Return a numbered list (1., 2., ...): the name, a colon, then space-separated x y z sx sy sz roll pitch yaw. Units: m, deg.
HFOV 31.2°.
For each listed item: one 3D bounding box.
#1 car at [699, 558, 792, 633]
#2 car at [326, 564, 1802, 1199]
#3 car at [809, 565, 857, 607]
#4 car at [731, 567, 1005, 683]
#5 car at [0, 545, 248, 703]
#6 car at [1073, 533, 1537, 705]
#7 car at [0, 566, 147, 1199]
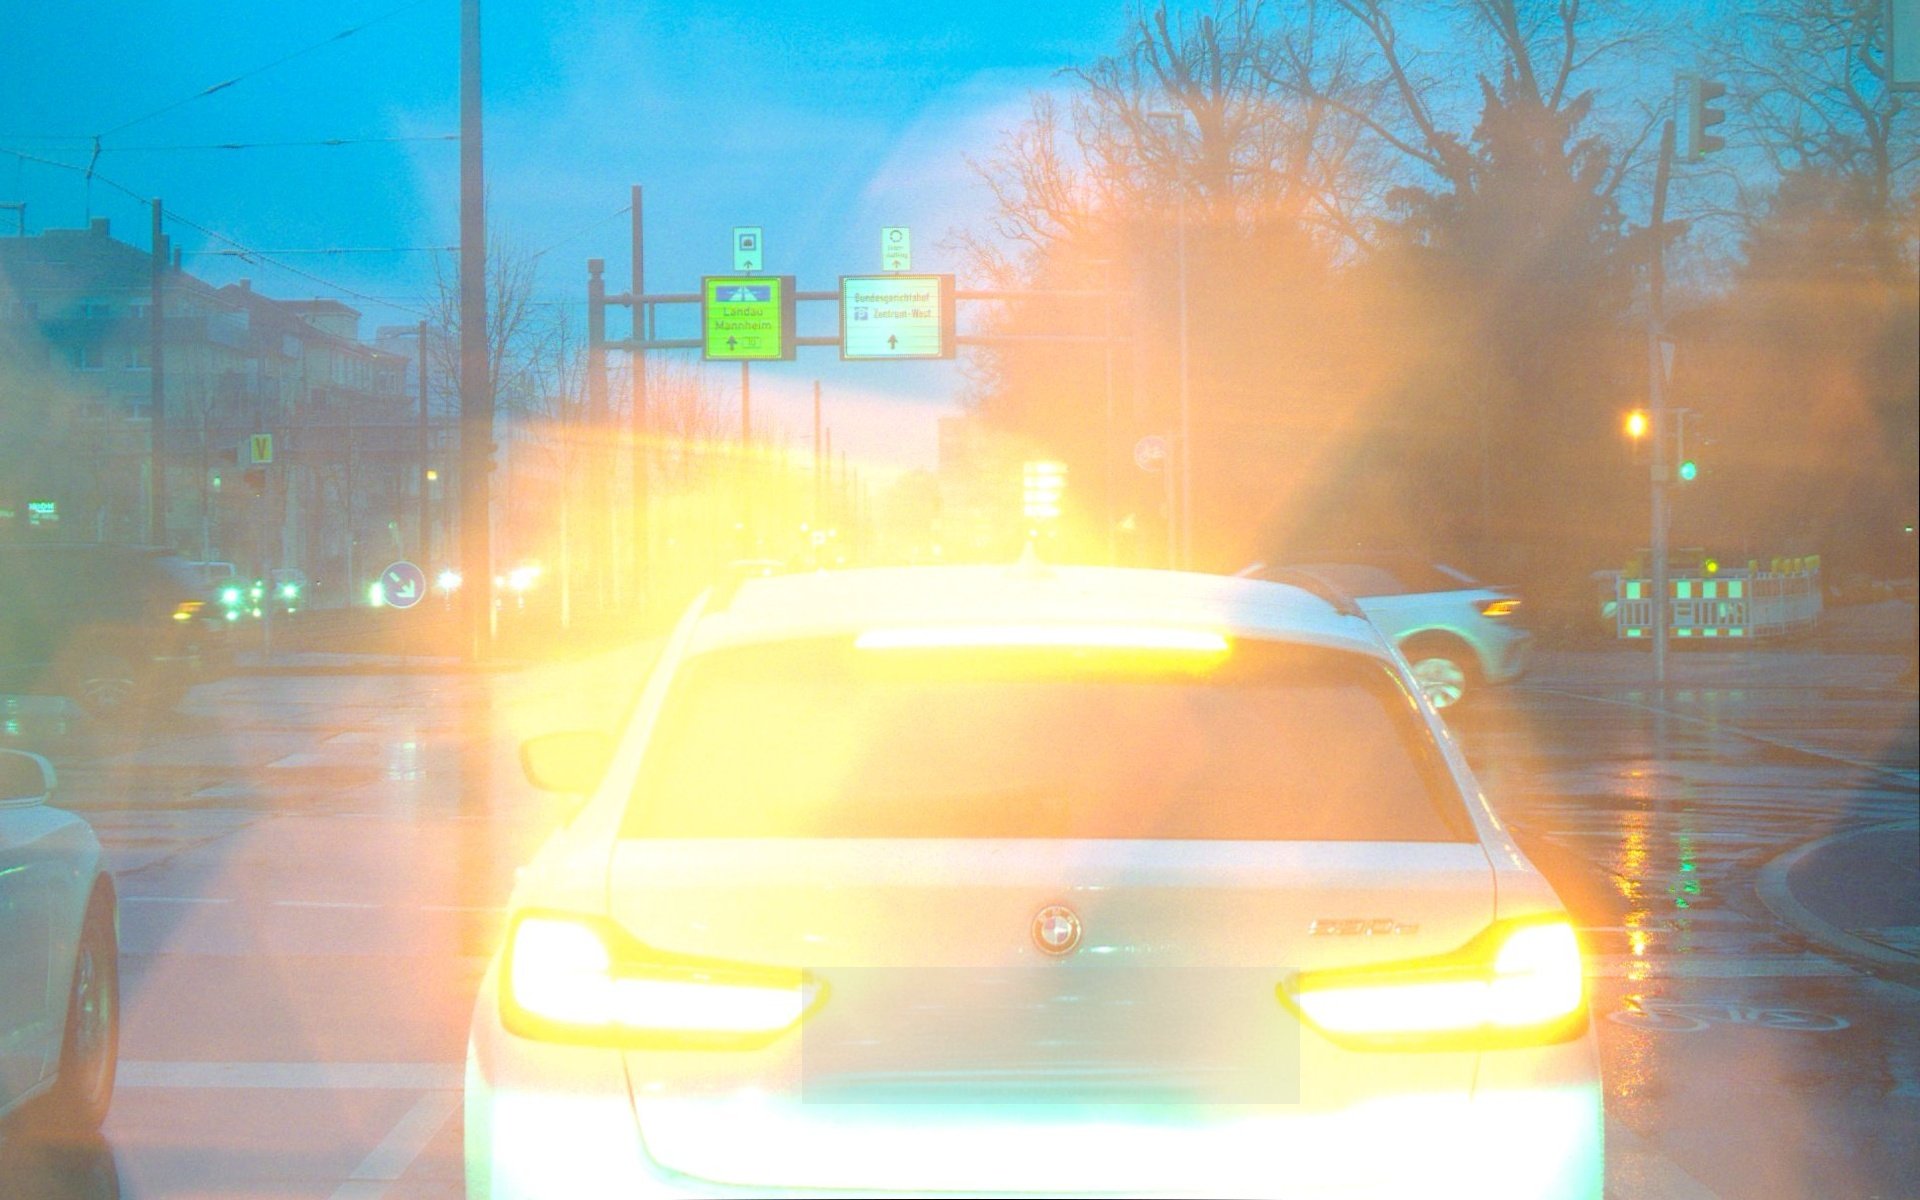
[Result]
1. car: -4.672 -0.101 74.482 1.743 1.548 3.969 1 0 -7
2. car: 0.051 0.675 6.831 1.993 1.451 4.369 0 1 -2
3. car: -5.035 -0.534 136.320 1.843 1.603 3.945 1 0 -2
4. car: -1.246 0.305 44.587 1.752 1.397 4.000 1 0 -32
5. car: -8.959 0.211 32.408 4.093 1.436 1.840 0 0 1
6. car: 3.223 0.159 31.768 4.095 1.524 1.839 0 0 12
7. car: -3.094 0.671 7.049 1.993 1.451 4.369 0 1 -2
